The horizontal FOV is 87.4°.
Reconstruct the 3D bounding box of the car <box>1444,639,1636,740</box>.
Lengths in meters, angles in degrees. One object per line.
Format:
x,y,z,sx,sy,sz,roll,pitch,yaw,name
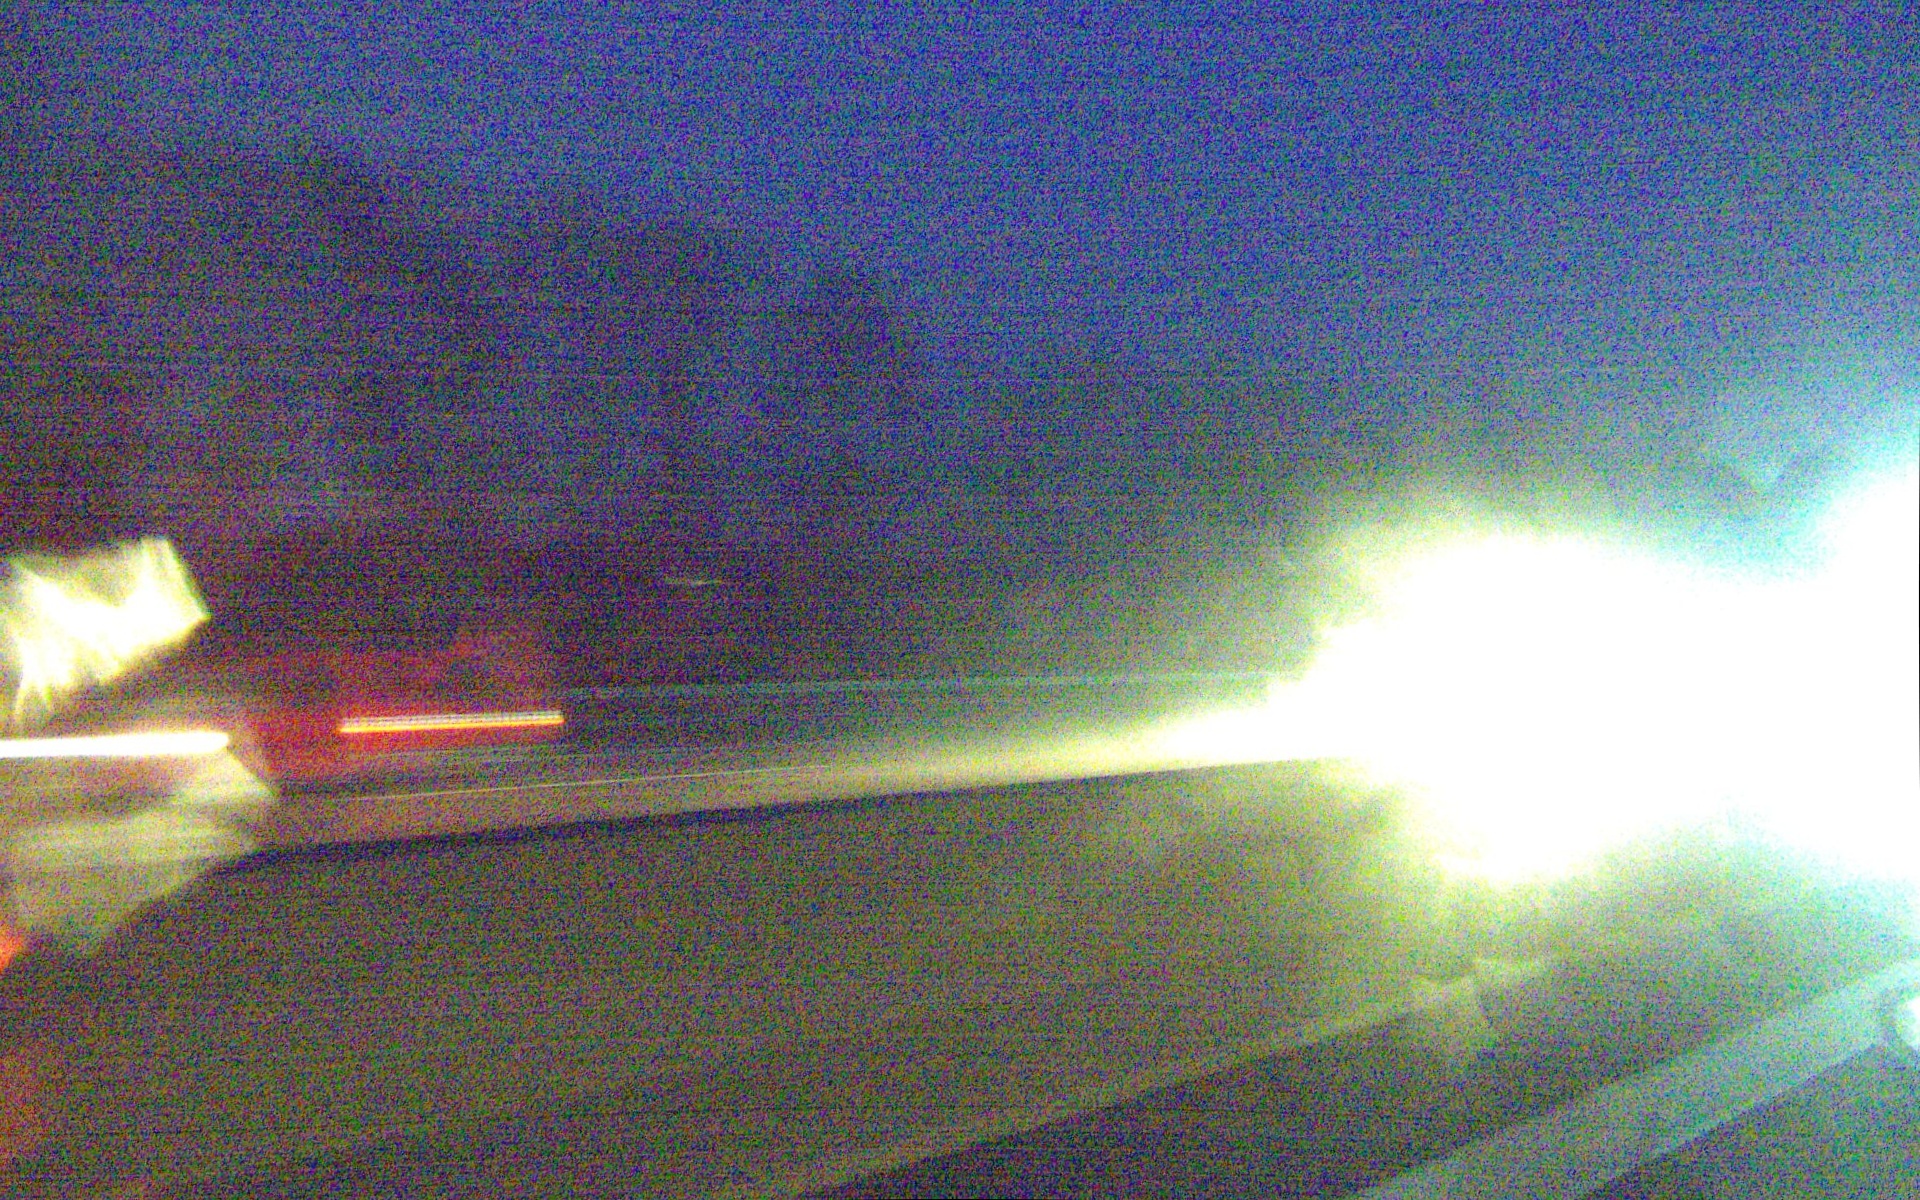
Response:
12.404,1.811,21.445,3.956,1.784,1.982,0,1,-33,car

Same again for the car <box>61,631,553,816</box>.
-8.191,1.414,13.152,5.038,1.840,1.982,0,1,-33,car
